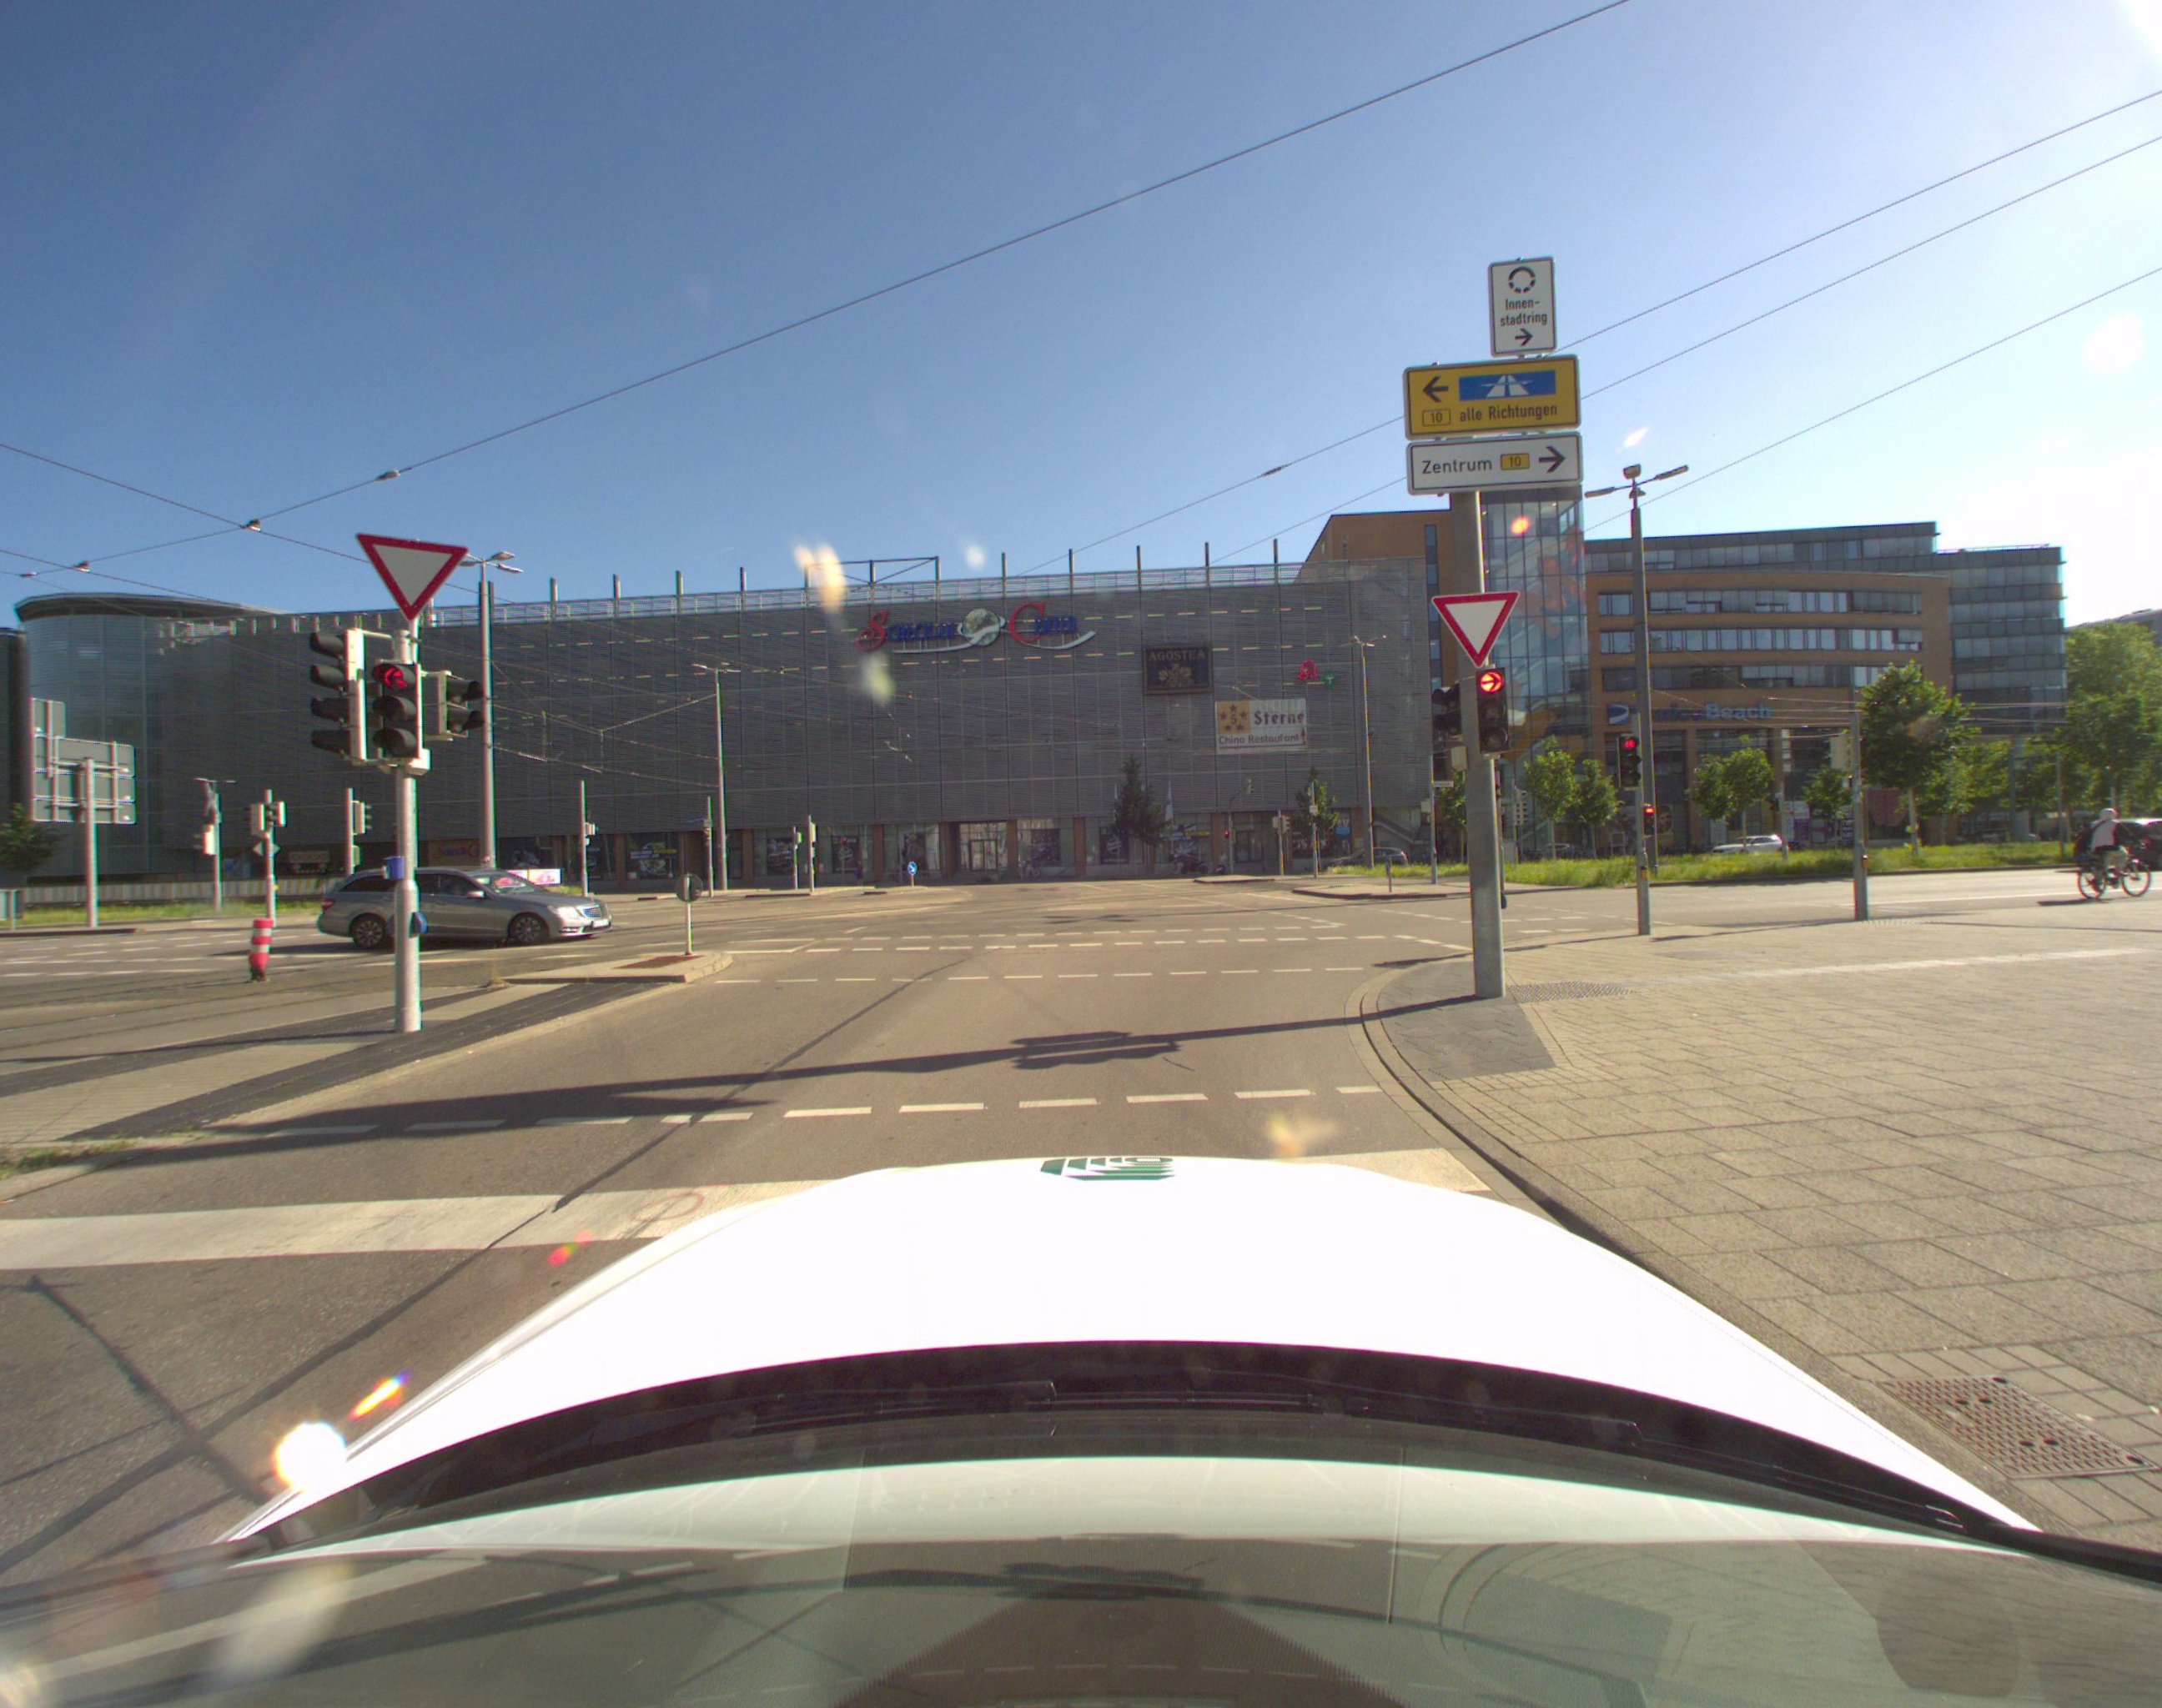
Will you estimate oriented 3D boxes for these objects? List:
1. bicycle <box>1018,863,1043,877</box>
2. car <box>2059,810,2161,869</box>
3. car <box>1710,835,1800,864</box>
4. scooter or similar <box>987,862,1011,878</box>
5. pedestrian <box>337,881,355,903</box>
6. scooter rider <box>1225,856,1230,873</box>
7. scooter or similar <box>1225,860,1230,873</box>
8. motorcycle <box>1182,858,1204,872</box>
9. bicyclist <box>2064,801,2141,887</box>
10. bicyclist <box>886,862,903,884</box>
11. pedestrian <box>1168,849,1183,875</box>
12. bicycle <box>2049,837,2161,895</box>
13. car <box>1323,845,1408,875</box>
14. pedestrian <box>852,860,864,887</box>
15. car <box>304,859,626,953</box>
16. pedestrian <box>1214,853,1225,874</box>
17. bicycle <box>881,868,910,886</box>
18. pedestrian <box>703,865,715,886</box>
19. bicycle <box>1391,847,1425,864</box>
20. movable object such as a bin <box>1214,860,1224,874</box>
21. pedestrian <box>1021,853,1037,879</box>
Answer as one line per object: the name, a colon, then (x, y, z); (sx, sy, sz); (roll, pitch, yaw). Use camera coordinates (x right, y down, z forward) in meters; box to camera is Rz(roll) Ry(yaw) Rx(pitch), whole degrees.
bicycle: (-3.781, 1.172, 60.791); (1.815, 0.989, 0.556); (-2, 1, -8)
car: (31.874, -0.454, 24.283); (3.683, 1.646, 1.644); (-2, 0, -5)
car: (41.744, -0.268, 50.488); (4.281, 1.645, 1.838); (2, -1, -5)
scooter or similar: (-6.183, 1.201, 61.232); (1.790, 1.066, 0.611); (-2, 1, -6)
pedestrian: (-52.699, 2.720, 58.410); (0.656, 1.601, 0.652); (-1, -1, 8)
scooter rider: (9.908, 0.704, 54.950); (0.286, 1.200, 0.387); (-1, -1, 12)
scooter or similar: (9.921, 0.868, 55.008); (0.293, 0.873, 1.007); (-1, -1, 12)
motorcycle: (8.313, 0.829, 60.597); (1.630, 1.004, 0.448); (0, 0, 8)
bicyclist: (20.726, -0.198, 16.535); (0.881, 1.707, 0.573); (0, -1, -5)
bicyclist: (-12.628, 1.271, 55.238); (0.667, 1.427, 0.855); (-1, 2, 45)
pedestrian: (6.848, 0.555, 59.079); (1.007, 1.828, 1.037); (-3, 0, 5)
bicycle: (20.890, 0.230, 16.543); (1.897, 1.137, 0.580); (-1, -1, -5)
car: (15.883, 0.347, 45.621); (4.132, 1.470, 1.841); (2, -1, 0)
pedestrian: (-15.202, 1.307, 55.463); (0.695, 1.797, 0.727); (-3, 0, -14)
car: (-11.778, 0.963, 15.805); (4.842, 1.572, 1.706); (-2, 0, -2)
pedestrian: (9.405, 0.629, 55.203); (0.650, 1.414, 0.853); (-1, -1, 12)
bicycle: (-12.585, 1.582, 55.311); (0.562, 1.086, 1.874); (-1, 2, 45)
pedestrian: (-28.825, 1.683, 63.074); (0.654, 1.601, 0.597); (-1, -1, 20)
bicycle: (24.343, 0.111, 60.620); (2.247, 1.296, 0.606); (0, -1, 0)
movable object such as a bin: (9.272, 0.880, 54.740); (0.608, 0.904, 0.972); (-1, -1, 12)
pedestrian: (-3.829, 0.874, 59.785); (0.945, 1.828, 0.848); (-3, 0, 7)
